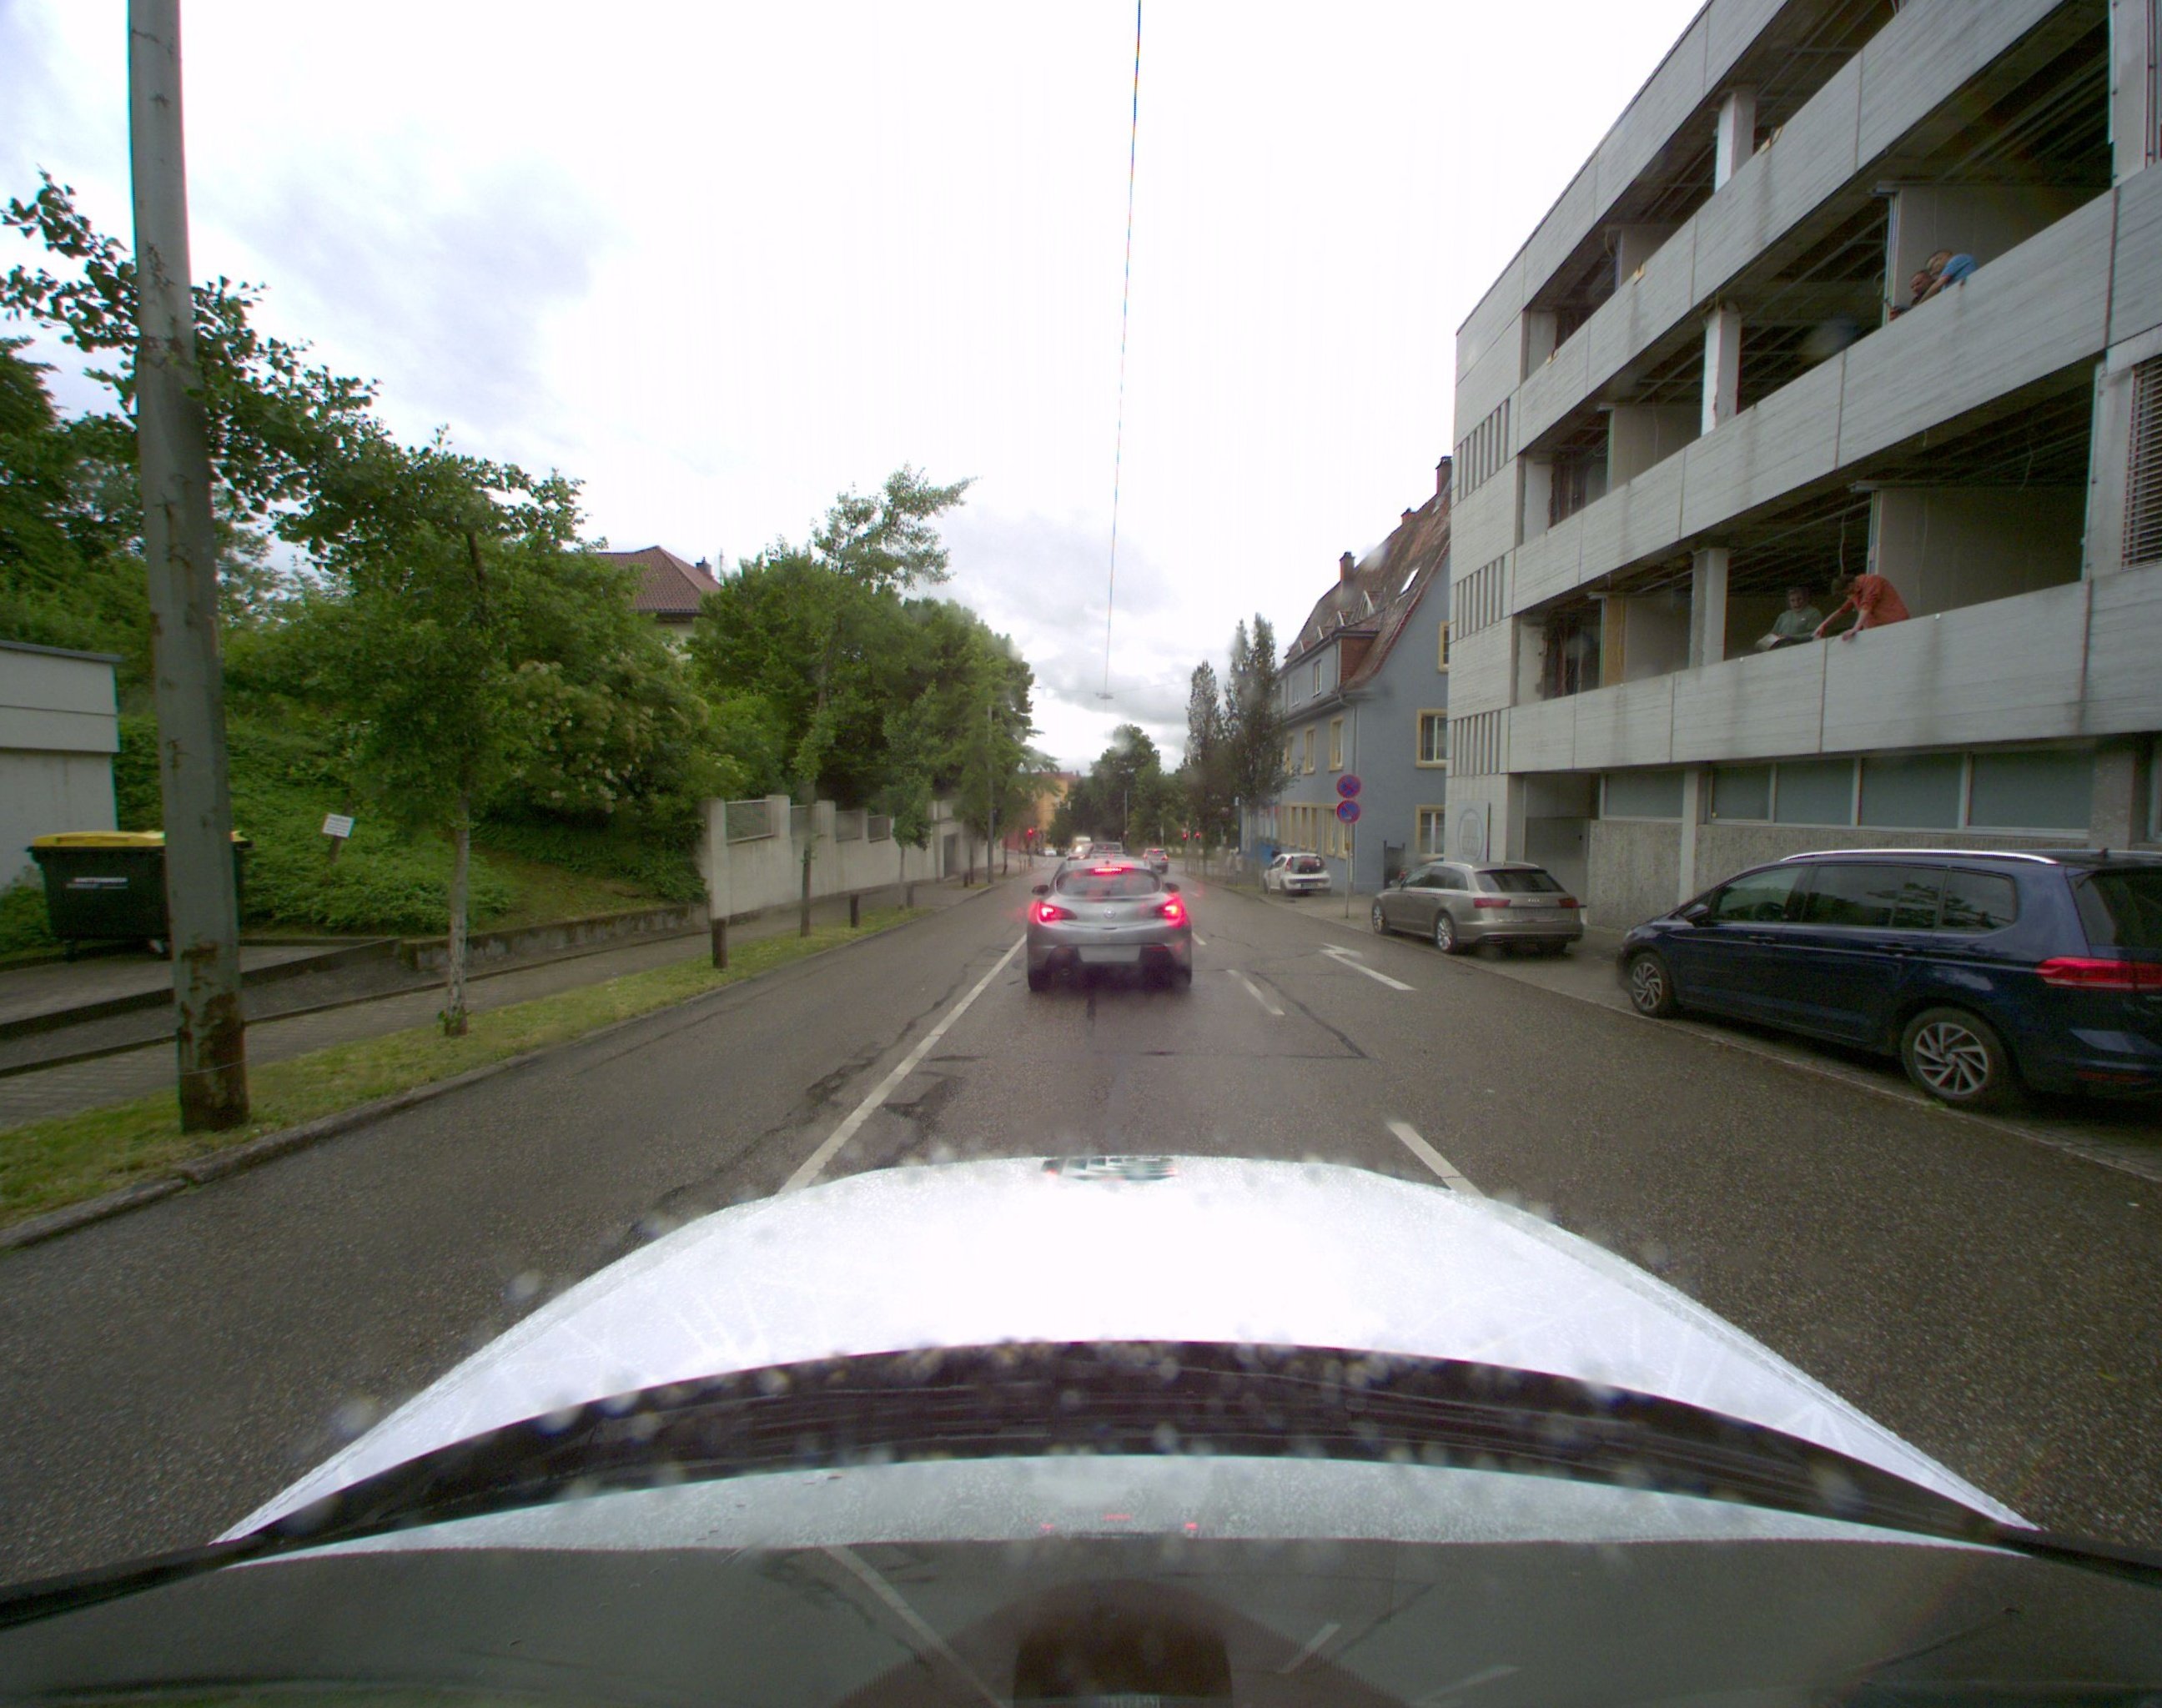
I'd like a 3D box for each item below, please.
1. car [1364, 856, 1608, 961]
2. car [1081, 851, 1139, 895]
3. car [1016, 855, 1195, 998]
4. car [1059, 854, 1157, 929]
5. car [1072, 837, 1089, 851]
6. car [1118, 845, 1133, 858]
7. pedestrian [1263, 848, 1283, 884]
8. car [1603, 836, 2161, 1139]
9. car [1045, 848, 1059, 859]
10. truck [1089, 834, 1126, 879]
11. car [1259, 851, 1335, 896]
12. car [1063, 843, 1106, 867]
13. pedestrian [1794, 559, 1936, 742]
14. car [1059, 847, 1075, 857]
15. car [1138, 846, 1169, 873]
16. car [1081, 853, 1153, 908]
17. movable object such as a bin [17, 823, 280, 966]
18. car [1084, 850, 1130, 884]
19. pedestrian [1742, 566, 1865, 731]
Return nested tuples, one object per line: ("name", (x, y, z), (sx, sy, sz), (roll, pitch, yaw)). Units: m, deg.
("car", (6.626, 0.788, 13.997), (1.956, 1.448, 4.526), (0, 0, 0))
("car", (1.018, 0.623, 29.766), (1.955, 1.448, 4.306), (1, 0, 1))
("car", (0.253, 0.746, 10.273), (1.831, 1.434, 3.879), (0, 0, 0))
("car", (0.579, 0.770, 18.666), (1.955, 1.448, 4.306), (1, 0, 1))
("car", (-0.074, -1.171, 100.668), (1.721, 1.638, 3.870), (-1, 0, -7))
("car", (5.932, -0.309, 109.184), (1.718, 1.638, 3.877), (-1, 0, -2))
("pedestrian", (9.175, 0.570, 38.896), (0.780, 1.729, 0.651), (1, 0, 1))
("car", (6.291, 0.690, 6.391), (1.723, 1.599, 4.160), (-1, 0, 0))
("car", (-3.959, -0.102, 110.449), (1.717, 1.460, 3.880), (-1, 0, 1))
("truck", (1.496, 0.120, 47.431), (1.955, 2.429, 4.936), (1, 0, 1))
("car", (7.561, 0.640, 28.867), (1.717, 1.448, 3.880), (-1, 0, 1))
("car", (0.332, 0.056, 63.869), (1.731, 1.828, 4.483), (-2, 0, 22))
("pedestrian", (9.529, -2.435, 9.940), (0.904, 2.014, 0.861), (0, -1, 1))
("car", (-2.417, -0.344, 139.848), (1.726, 1.543, 3.859), (-1, 0, -16))
("car", (4.895, 0.364, 55.385), (1.717, 1.714, 3.879), (-1, 0, 0))
("car", (1.015, 0.719, 24.382), (1.955, 1.448, 4.306), (1, 0, 1))
("movable object such as a bin", (-10.032, 0.395, 8.868), (1.296, 1.363, 1.225), (0, 6, -5))
("car", (1.156, 0.550, 37.430), (1.955, 1.448, 4.306), (1, 0, 1))
("pedestrian", (9.744, -2.738, 11.022), (0.904, 2.014, 0.861), (0, -1, 1))
